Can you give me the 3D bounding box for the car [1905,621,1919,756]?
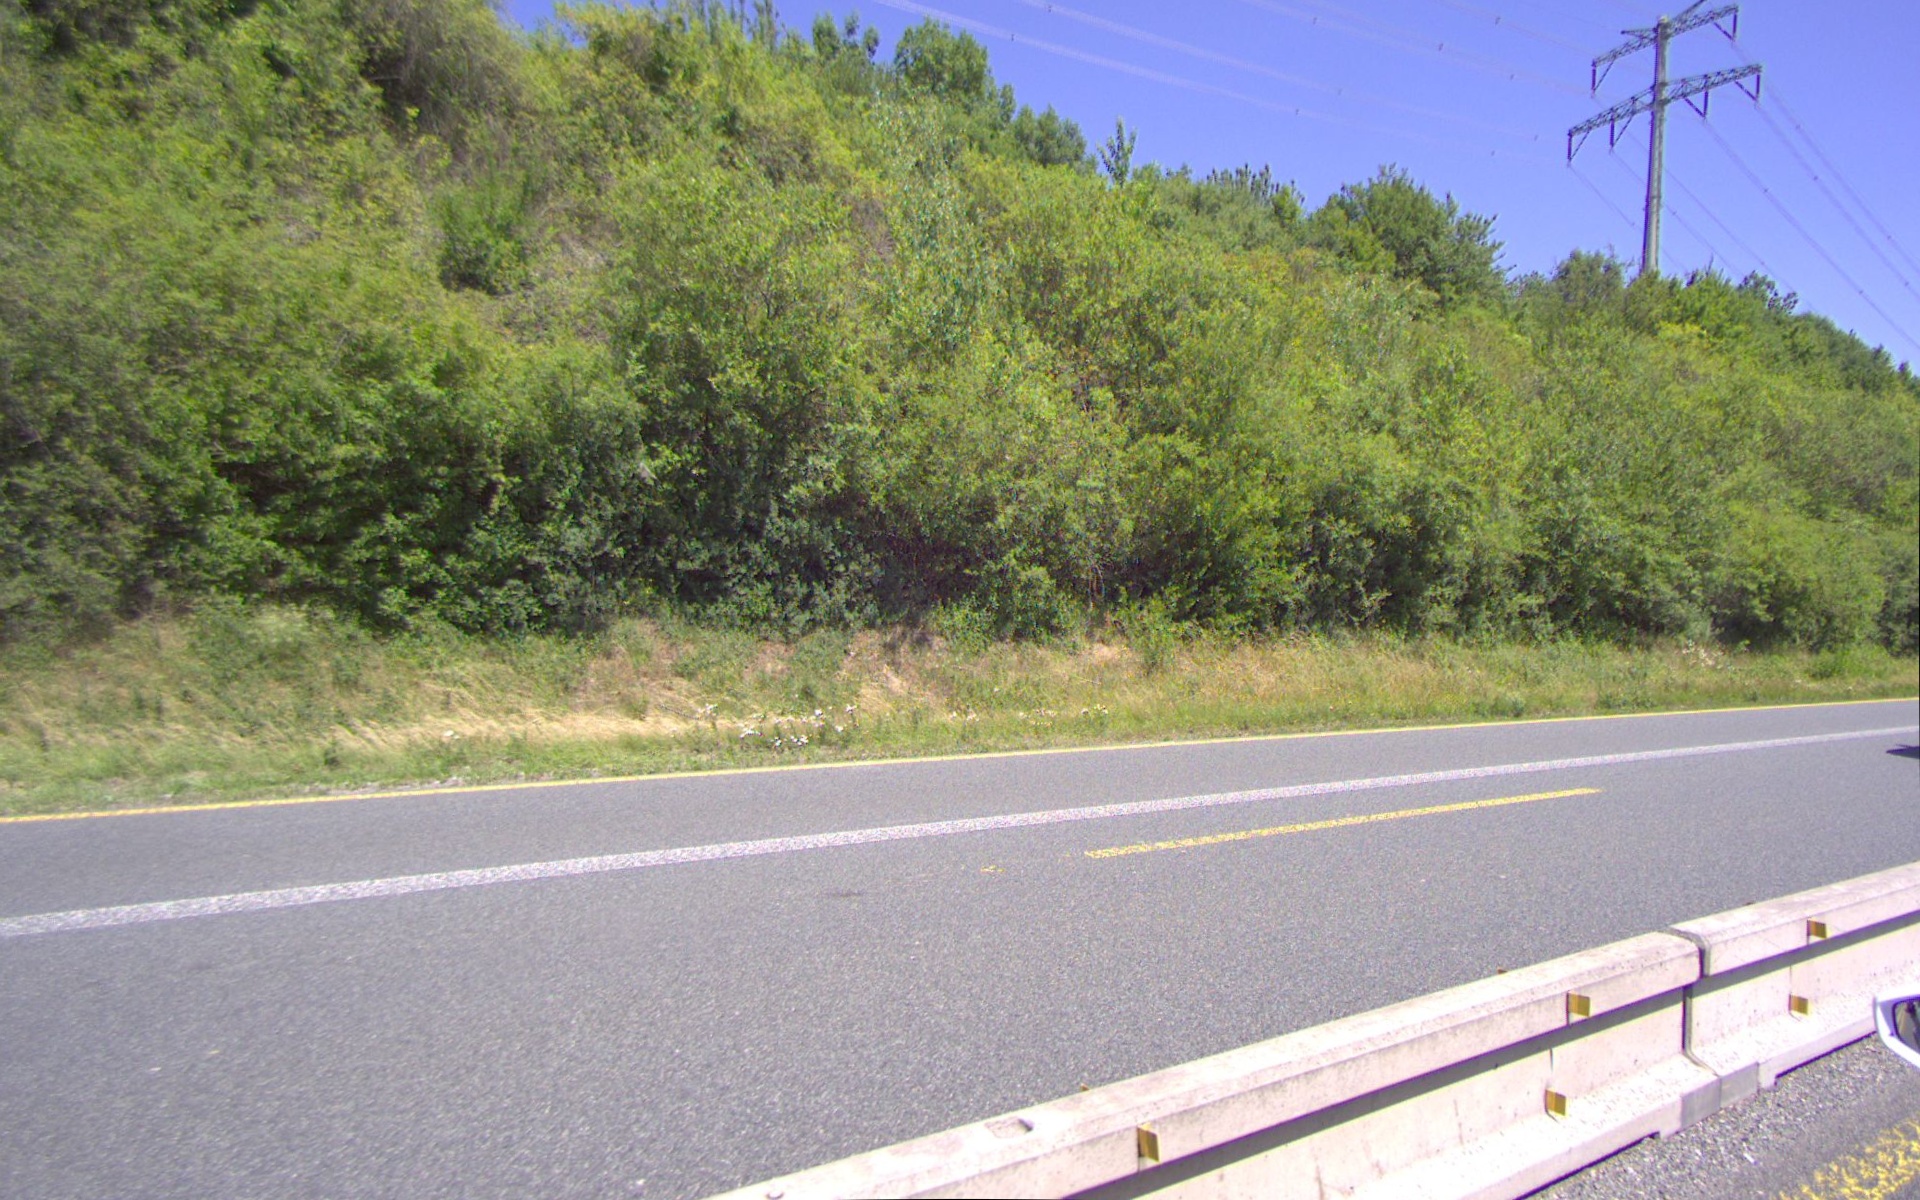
[{"bbox_3d":[13.160,1.072,11.814,4.227,1.525,1.890,2,0,-31],"label":"car"}]
